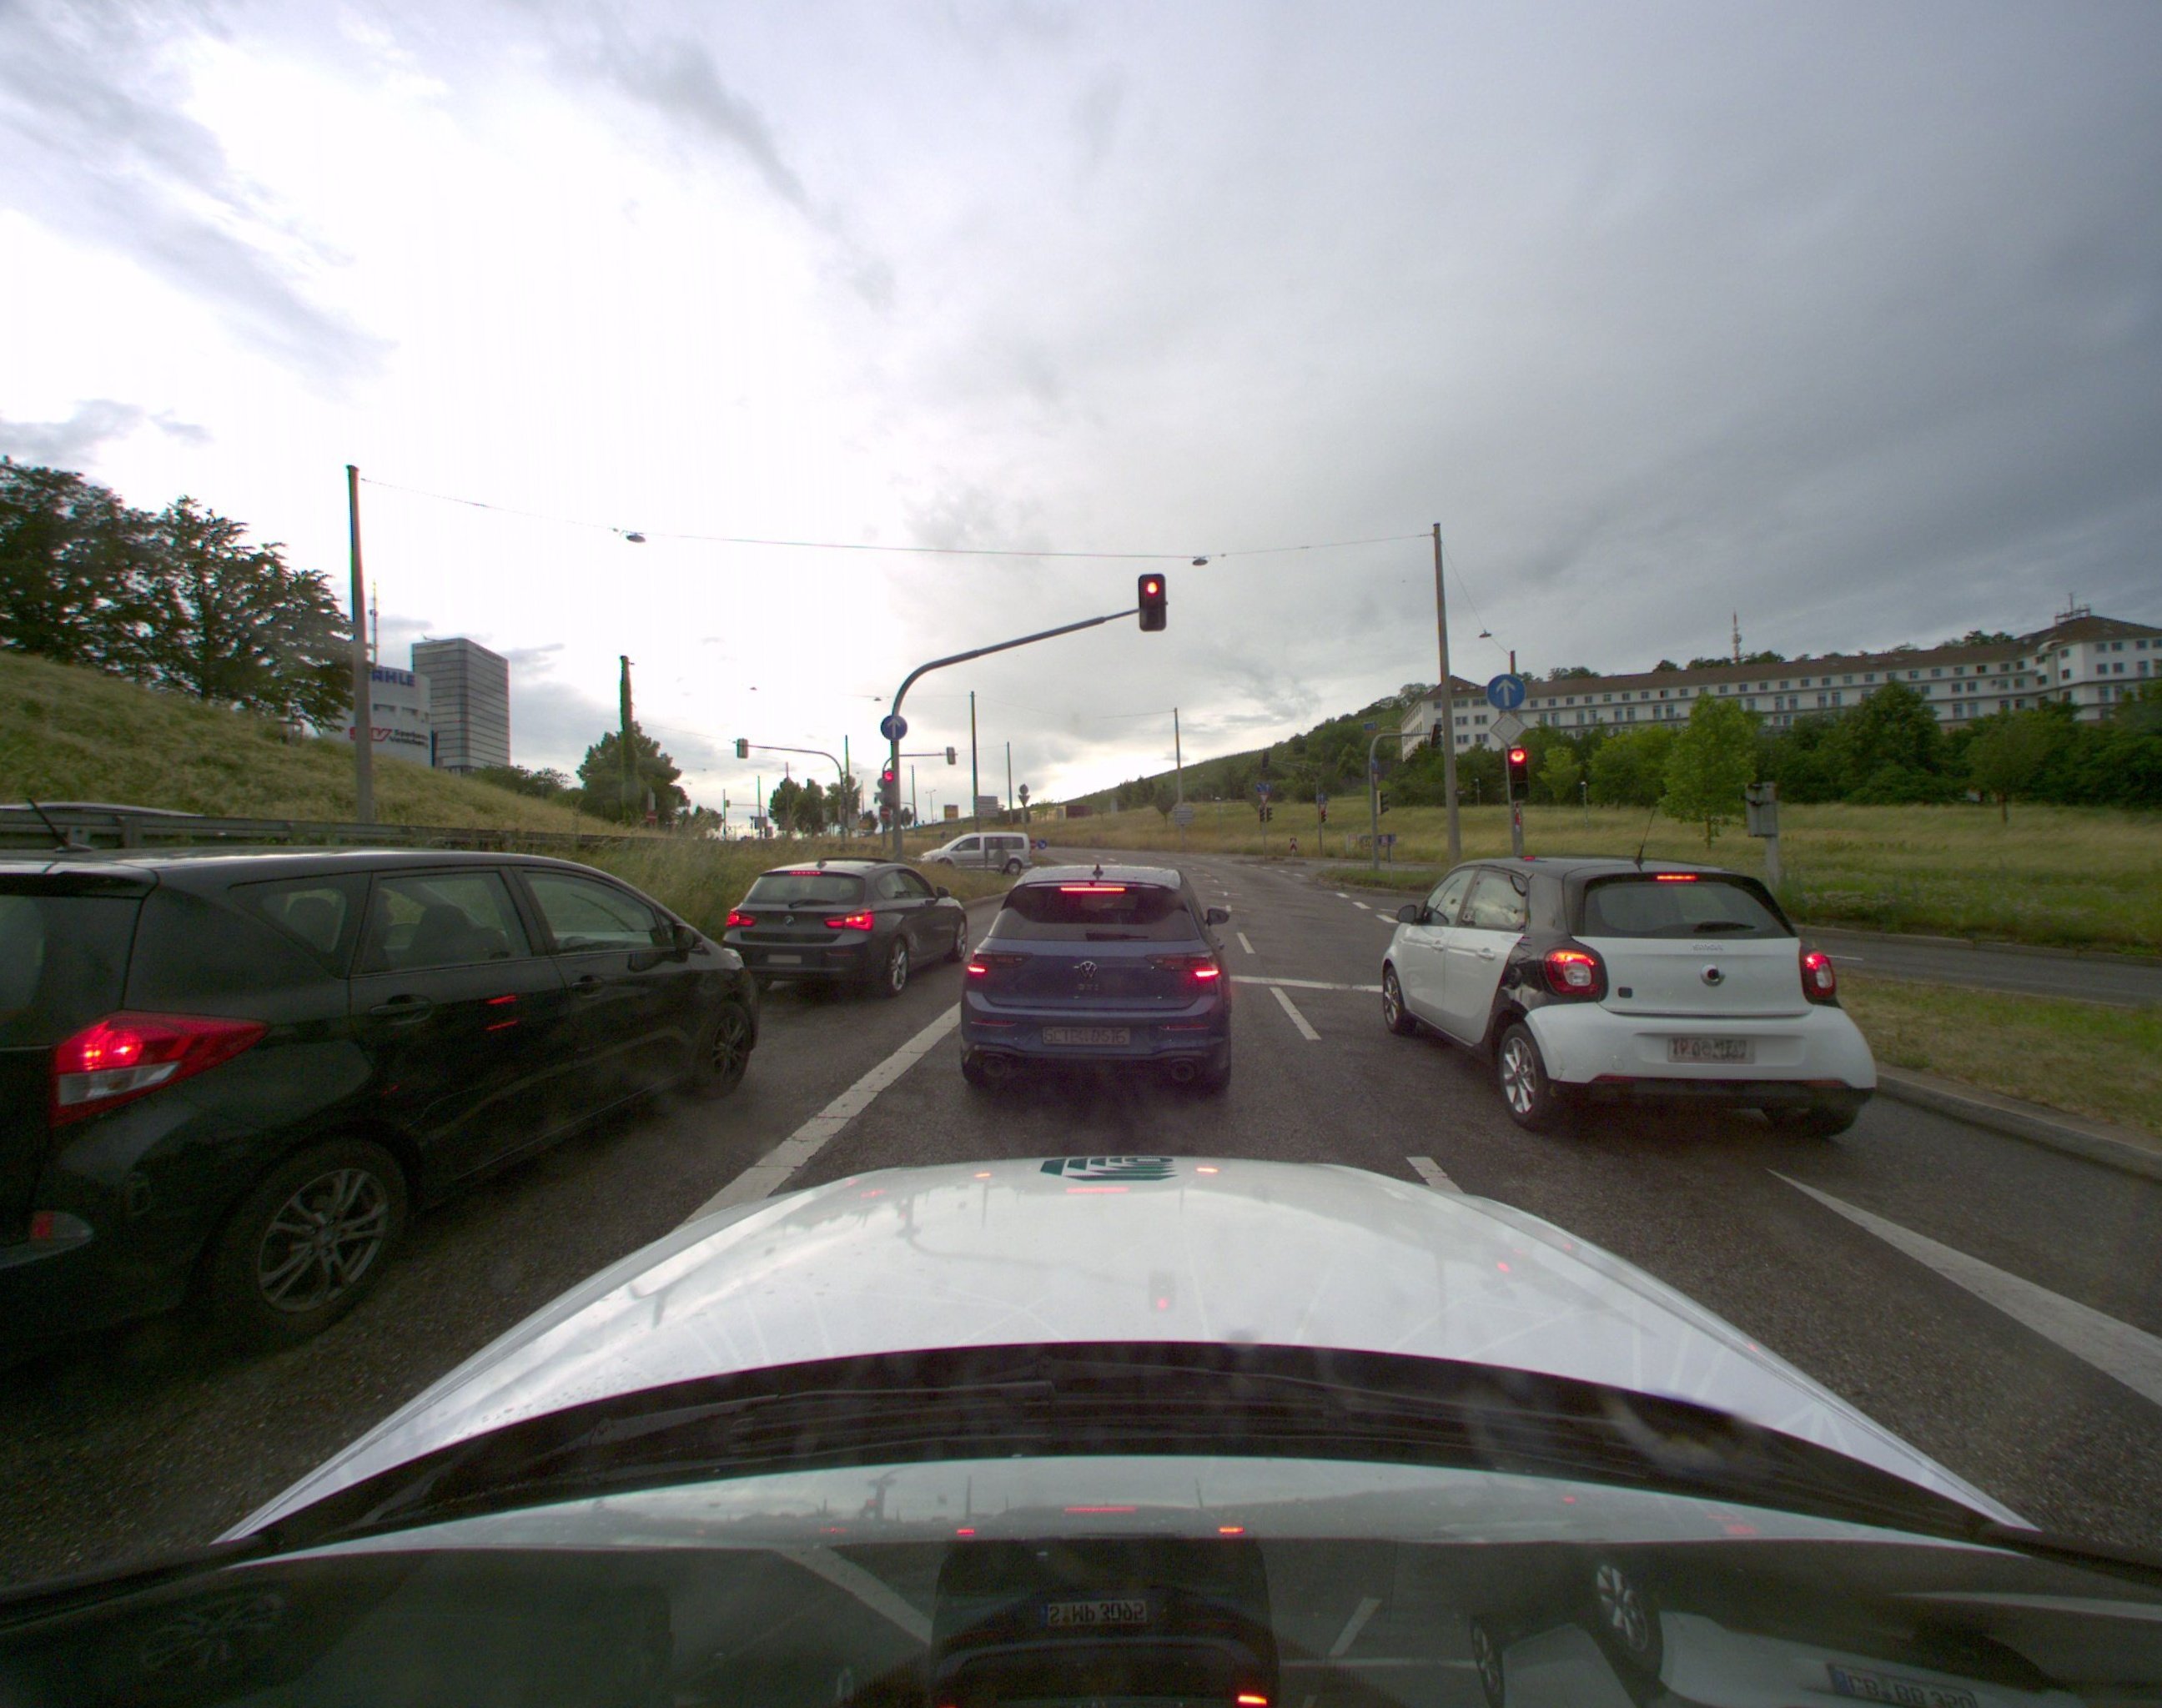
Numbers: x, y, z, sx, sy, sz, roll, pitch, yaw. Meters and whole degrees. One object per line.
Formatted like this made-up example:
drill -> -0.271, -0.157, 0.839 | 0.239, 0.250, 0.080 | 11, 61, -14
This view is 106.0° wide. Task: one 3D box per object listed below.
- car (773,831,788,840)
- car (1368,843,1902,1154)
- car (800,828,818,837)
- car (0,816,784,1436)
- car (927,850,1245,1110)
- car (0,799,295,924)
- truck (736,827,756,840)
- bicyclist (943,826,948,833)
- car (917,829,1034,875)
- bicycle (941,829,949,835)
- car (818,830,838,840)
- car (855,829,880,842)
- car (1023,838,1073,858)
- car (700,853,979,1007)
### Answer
car -> -63.251, -3.886, 171.274 | 2.143, 1.794, 4.694 | 1, 0, -31
car -> 3.311, 0.729, 5.740 | 1.649, 1.503, 3.456 | -1, -1, 6
car -> -49.765, -3.983, 148.981 | 2.007, 1.477, 4.375 | 0, -1, -33
car -> -3.074, 0.644, 3.919 | 1.634, 1.504, 3.783 | 1, 0, 4
car -> 0.251, 0.718, 6.567 | 1.815, 1.460, 3.816 | -1, 0, 7
car -> -13.891, 0.070, 11.613 | 1.729, 1.517, 3.679 | 0, 0, 2
truck -> -84.932, -5.132, 206.463 | 3.281, 3.074, 6.111 | 2, 0, -35
bicyclist -> -20.364, -3.632, 122.199 | 0.526, 1.046, 0.575 | 2, 0, -30
car -> -4.530, -0.071, 34.878 | 4.698, 1.850, 1.809 | 0, -1, -20
bicycle -> -20.452, -3.280, 122.355 | 0.521, 0.775, 1.605 | 0, 0, -31
car -> -42.078, -3.150, 135.169 | 2.008, 1.477, 4.455 | 0, -1, -33
car -> -29.696, -2.525, 113.358 | 2.008, 1.637, 4.373 | 0, -1, -35
car -> -2.819, -0.507, 68.694 | 2.008, 1.618, 4.801 | 0, 0, -34
car -> -2.625, 0.742, 9.959 | 1.693, 1.459, 4.123 | -1, 0, 7
